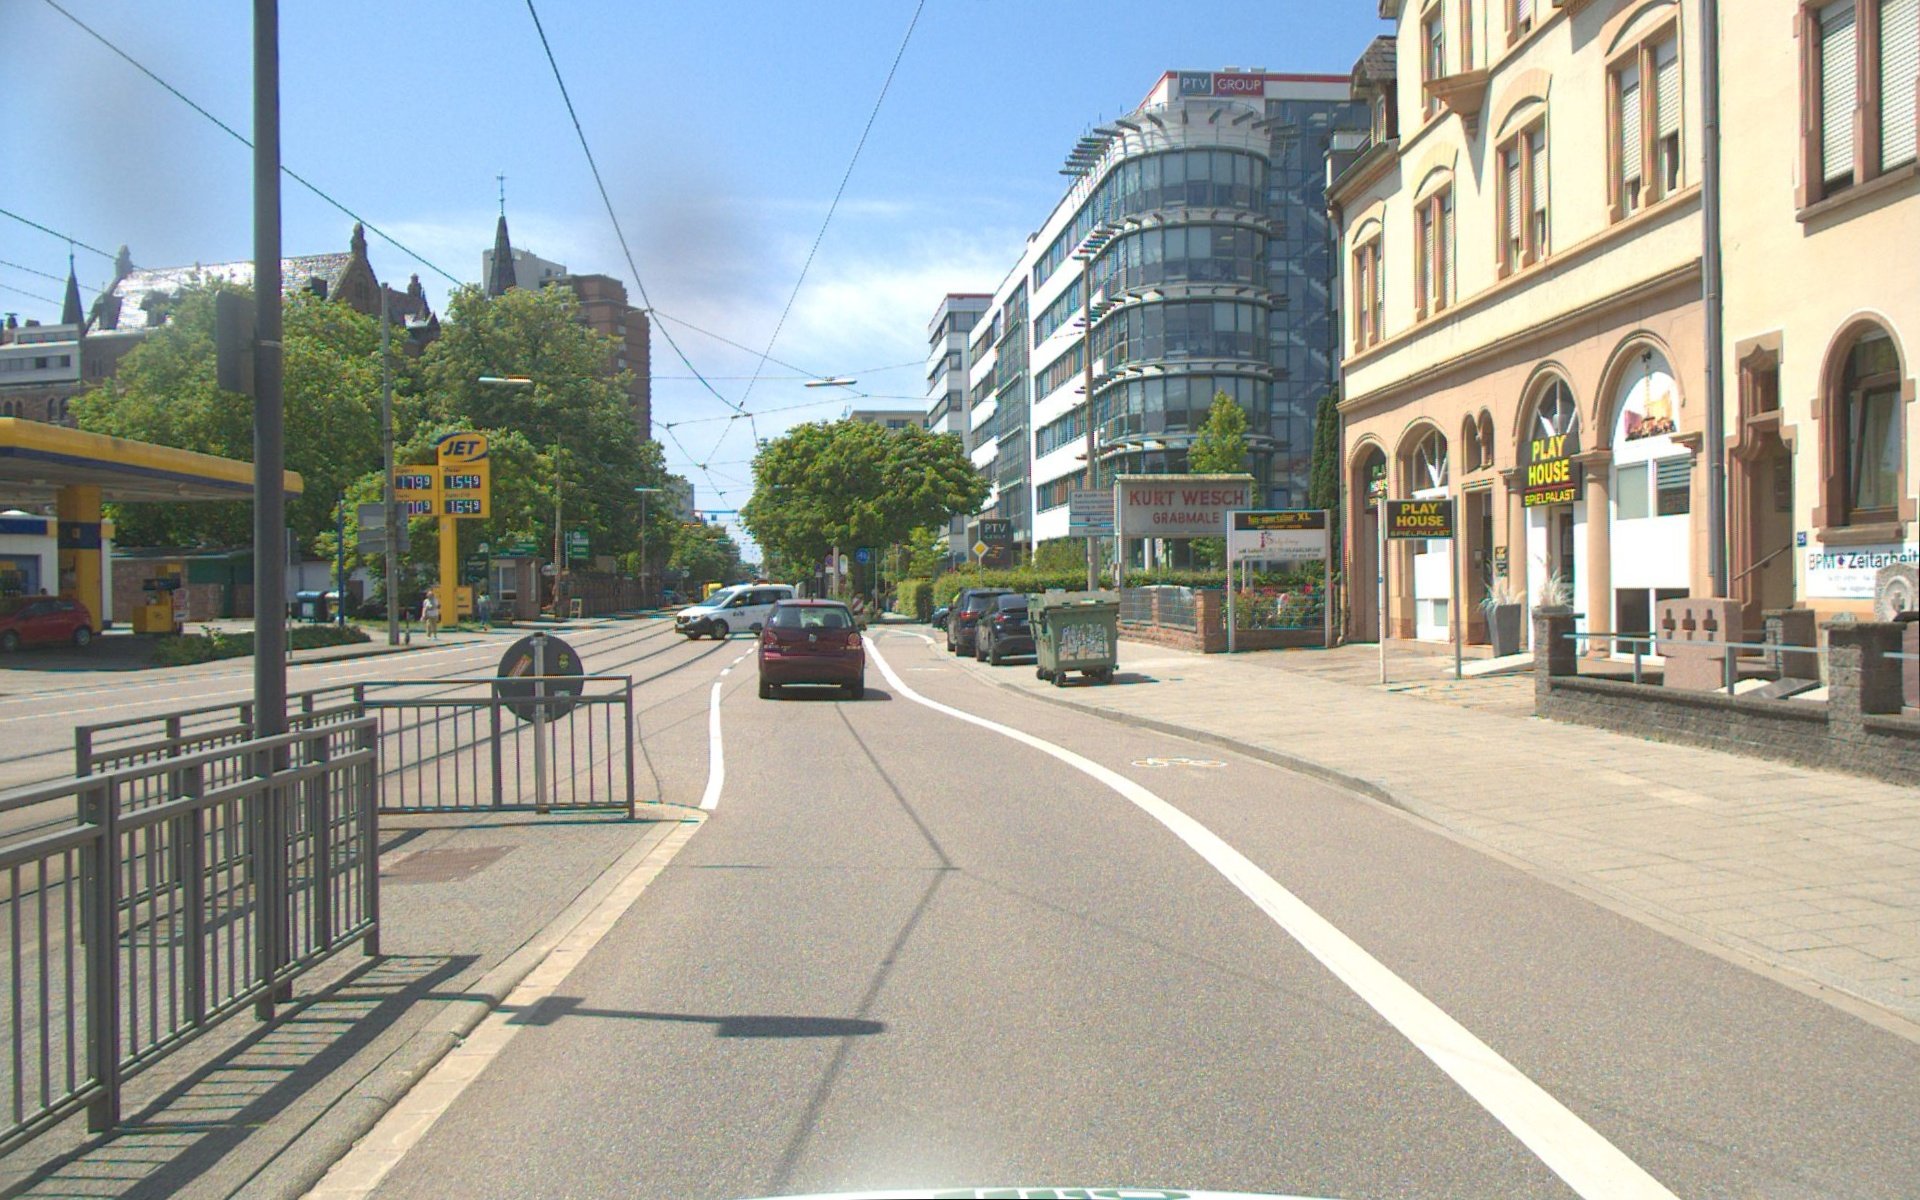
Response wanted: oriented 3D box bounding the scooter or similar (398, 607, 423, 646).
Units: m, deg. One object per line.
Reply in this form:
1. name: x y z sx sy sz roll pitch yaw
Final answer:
1. scooter or similar: -17.719 0.861 53.337 0.509 1.221 1.374 0 0 -9

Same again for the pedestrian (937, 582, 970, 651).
1. pedestrian: -0.186 0.480 48.419 0.769 1.994 0.586 -1 0 -22

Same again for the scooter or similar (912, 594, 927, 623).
1. scooter or similar: -1.750 0.366 70.815 0.319 1.244 1.153 1 0 15

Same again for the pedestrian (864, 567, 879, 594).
1. pedestrian: -6.009 -1.327 111.925 0.673 1.828 0.665 -2 0 -38

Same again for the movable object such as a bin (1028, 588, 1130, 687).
1. movable object such as a bin: 1.912 0.591 26.814 1.367 1.480 1.137 -3 0 -10

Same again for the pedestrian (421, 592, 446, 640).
1. pedestrian: -19.009 0.575 59.709 0.612 1.720 0.722 -1 0 1

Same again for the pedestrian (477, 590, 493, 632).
1. pedestrian: -20.201 0.461 70.325 0.569 1.806 0.698 1 0 -10

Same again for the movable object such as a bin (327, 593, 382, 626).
1. movable object such as a bin: -28.556 0.442 78.026 1.489 1.536 2.100 1 0 18

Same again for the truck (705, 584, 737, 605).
1. truck: -32.741 -0.755 226.636 2.319 2.835 7.326 -1 0 9

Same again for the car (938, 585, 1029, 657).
1. car: 0.568 0.521 44.533 1.887 1.722 5.076 -3 0 -5

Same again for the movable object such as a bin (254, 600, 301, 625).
1. movable object such as a bin: -32.484 0.568 78.711 1.375 1.157 1.565 1 0 18

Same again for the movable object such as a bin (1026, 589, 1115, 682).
1. movable object such as a bin: 1.853 0.584 27.928 1.224 1.480 1.055 -3 0 -10

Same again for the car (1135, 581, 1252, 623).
1. car: 8.763 0.084 62.268 4.066 1.485 1.817 -1 0 -3

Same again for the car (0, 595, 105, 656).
1. car: -26.402 0.693 46.495 1.787 1.531 4.202 1 2 16

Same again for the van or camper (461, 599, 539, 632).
1. van or camper: -24.343 0.795 87.709 3.712 1.657 1.869 1 1 -7

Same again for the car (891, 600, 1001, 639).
1. car: -0.516 0.733 62.587 3.831 1.396 1.704 -1 0 18

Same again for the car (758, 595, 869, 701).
1. car: -2.286 0.698 26.041 1.587 1.512 3.996 1 0 -5

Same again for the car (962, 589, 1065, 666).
1. car: 1.175 0.605 38.185 1.738 1.575 4.462 -3 0 -6

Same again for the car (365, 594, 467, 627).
1. car: -25.912 0.473 78.973 1.895 1.514 4.438 1 0 33

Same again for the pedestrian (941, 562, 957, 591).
1. pedestrian: -0.685 -1.431 101.479 0.855 1.745 1.090 -2 0 3

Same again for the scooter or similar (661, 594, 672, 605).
1. scooter or similar: -31.625 -0.093 178.146 1.076 1.175 0.522 1 0 -28

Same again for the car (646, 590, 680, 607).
1. car: -36.728 -0.160 204.487 3.907 2.049 1.999 -1 0 -3

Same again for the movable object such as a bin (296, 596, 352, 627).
1. movable object such as a bin: -30.129 0.531 78.408 1.489 1.457 2.100 1 0 18

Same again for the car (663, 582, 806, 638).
1. car: -7.669 0.322 56.433 4.512 1.831 1.970 -1 0 -41

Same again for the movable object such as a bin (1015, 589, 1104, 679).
1. movable object such as a bin: 1.736 0.576 28.985 1.299 1.480 1.055 -3 0 -10

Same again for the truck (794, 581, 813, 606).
1. truck: -17.323 -0.732 182.810 1.955 2.708 4.868 1 0 -7
